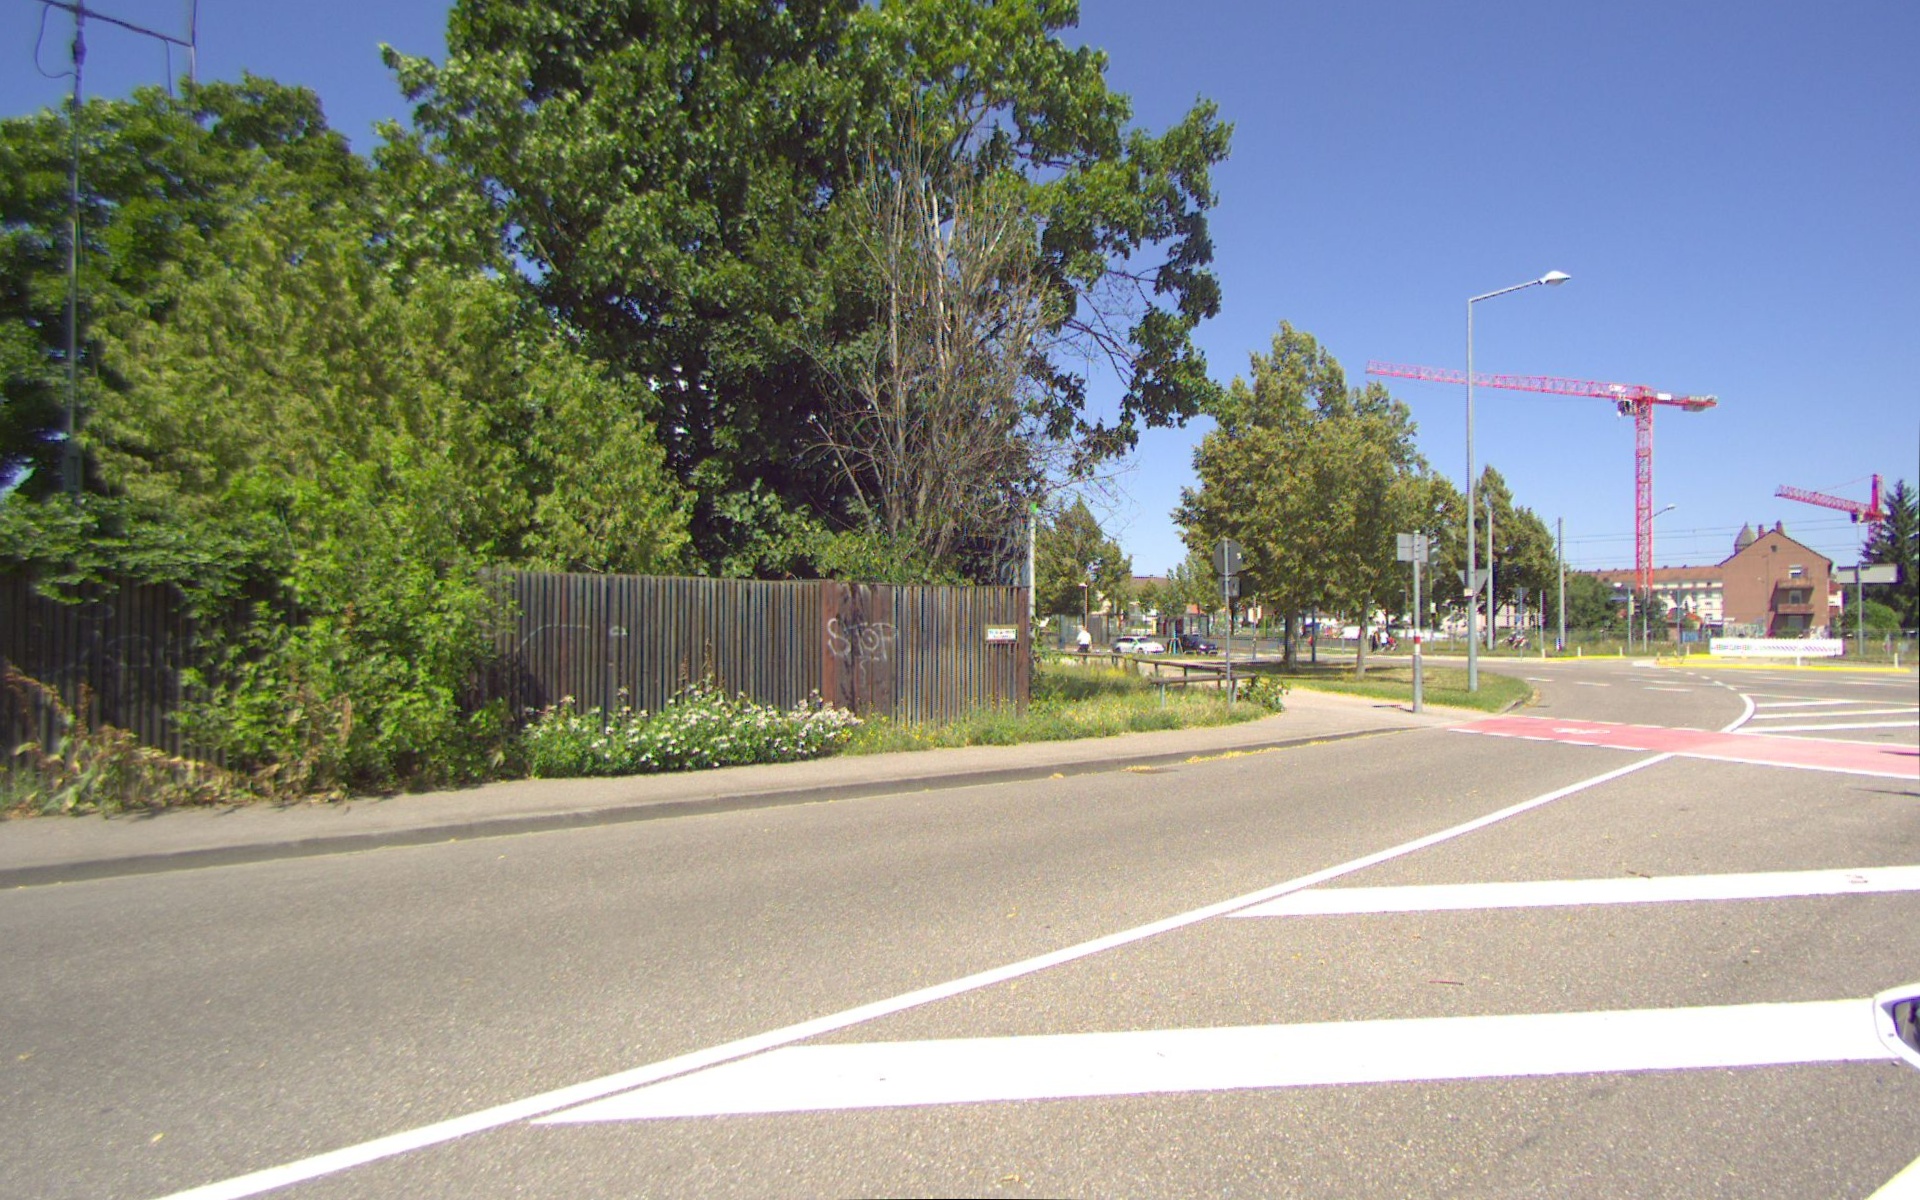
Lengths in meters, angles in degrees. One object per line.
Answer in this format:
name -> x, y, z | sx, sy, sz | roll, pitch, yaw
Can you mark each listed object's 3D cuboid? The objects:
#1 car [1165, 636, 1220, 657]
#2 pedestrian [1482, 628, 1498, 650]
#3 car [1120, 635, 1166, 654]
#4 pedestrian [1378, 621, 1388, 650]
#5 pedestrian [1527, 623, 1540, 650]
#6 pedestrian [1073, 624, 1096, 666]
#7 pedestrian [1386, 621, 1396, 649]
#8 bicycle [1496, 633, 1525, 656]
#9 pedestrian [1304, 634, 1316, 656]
car -> 15.722, 3.141, 68.126 | 1.719, 1.228, 3.541 | 2, -1, -28
pedestrian -> 40.584, 2.955, 76.879 | 0.749, 1.661, 0.778 | 2, 0, -18
car -> 13.252, 3.249, 72.950 | 1.557, 1.241, 3.299 | 2, -1, -28
pedestrian -> 29.148, 2.442, 69.187 | 0.617, 1.960, 0.646 | -1, -1, 26
pedestrian -> 44.042, 2.778, 77.121 | 0.588, 2.040, 0.598 | 2, 0, -30
pedestrian -> 5.724, 2.080, 46.226 | 0.821, 1.894, 0.609 | 2, 0, -16
pedestrian -> 29.867, 2.406, 69.616 | 0.617, 1.960, 0.646 | -1, -1, 26
bicycle -> 40.816, 3.302, 74.435 | 2.051, 1.707, 0.558 | 2, 0, -16
pedestrian -> 23.375, 3.017, 67.074 | 0.590, 1.425, 0.540 | 1, -2, -27
